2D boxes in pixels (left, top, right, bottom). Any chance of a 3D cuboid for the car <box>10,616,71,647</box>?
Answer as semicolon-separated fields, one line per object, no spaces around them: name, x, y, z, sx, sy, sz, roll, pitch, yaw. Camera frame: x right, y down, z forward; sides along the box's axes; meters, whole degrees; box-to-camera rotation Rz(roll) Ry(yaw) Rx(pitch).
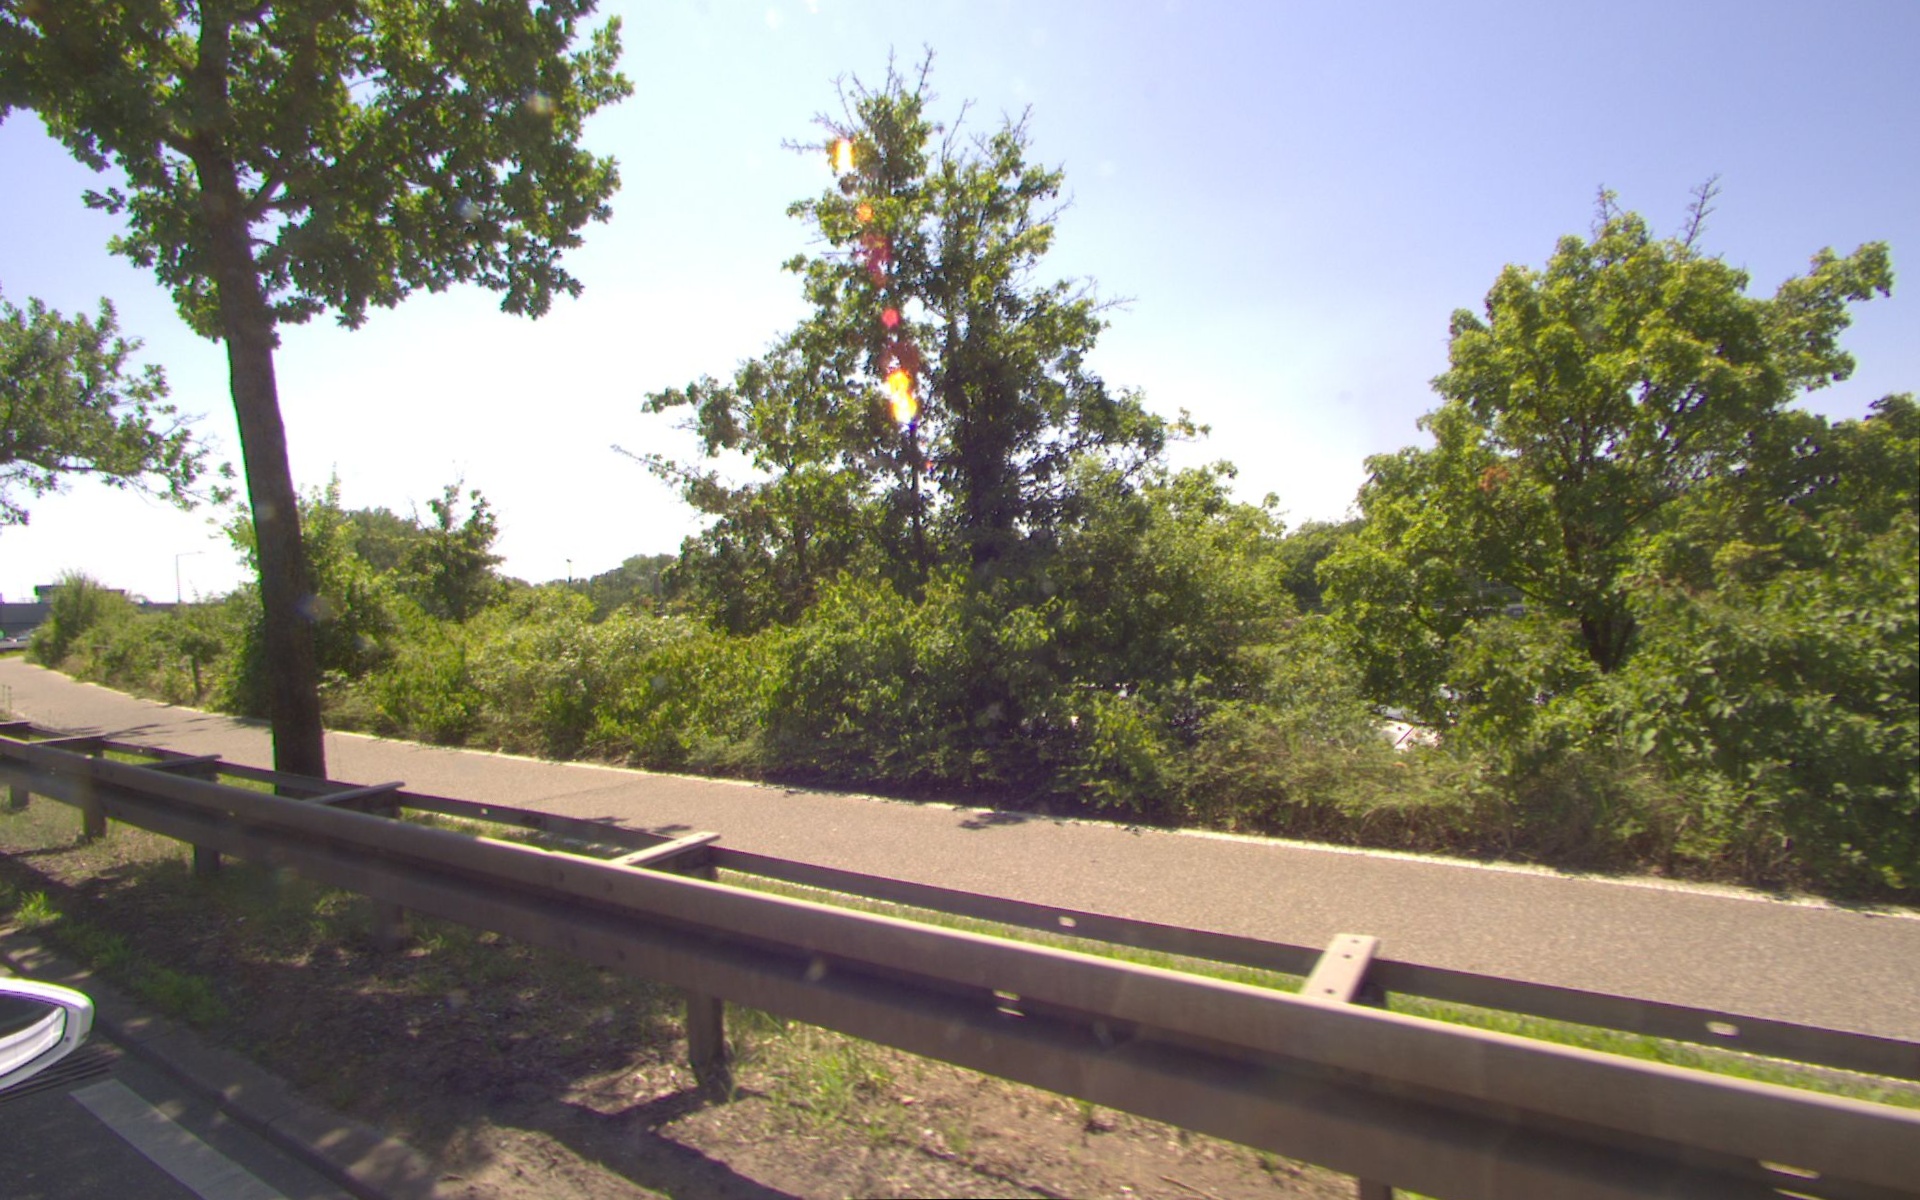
car;-55.023;1.880;60.008;1.974;1.790;4.725;1;-2;-34

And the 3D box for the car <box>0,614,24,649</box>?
car;-48.866;1.581;50.350;1.975;1.739;4.836;1;-2;-35
